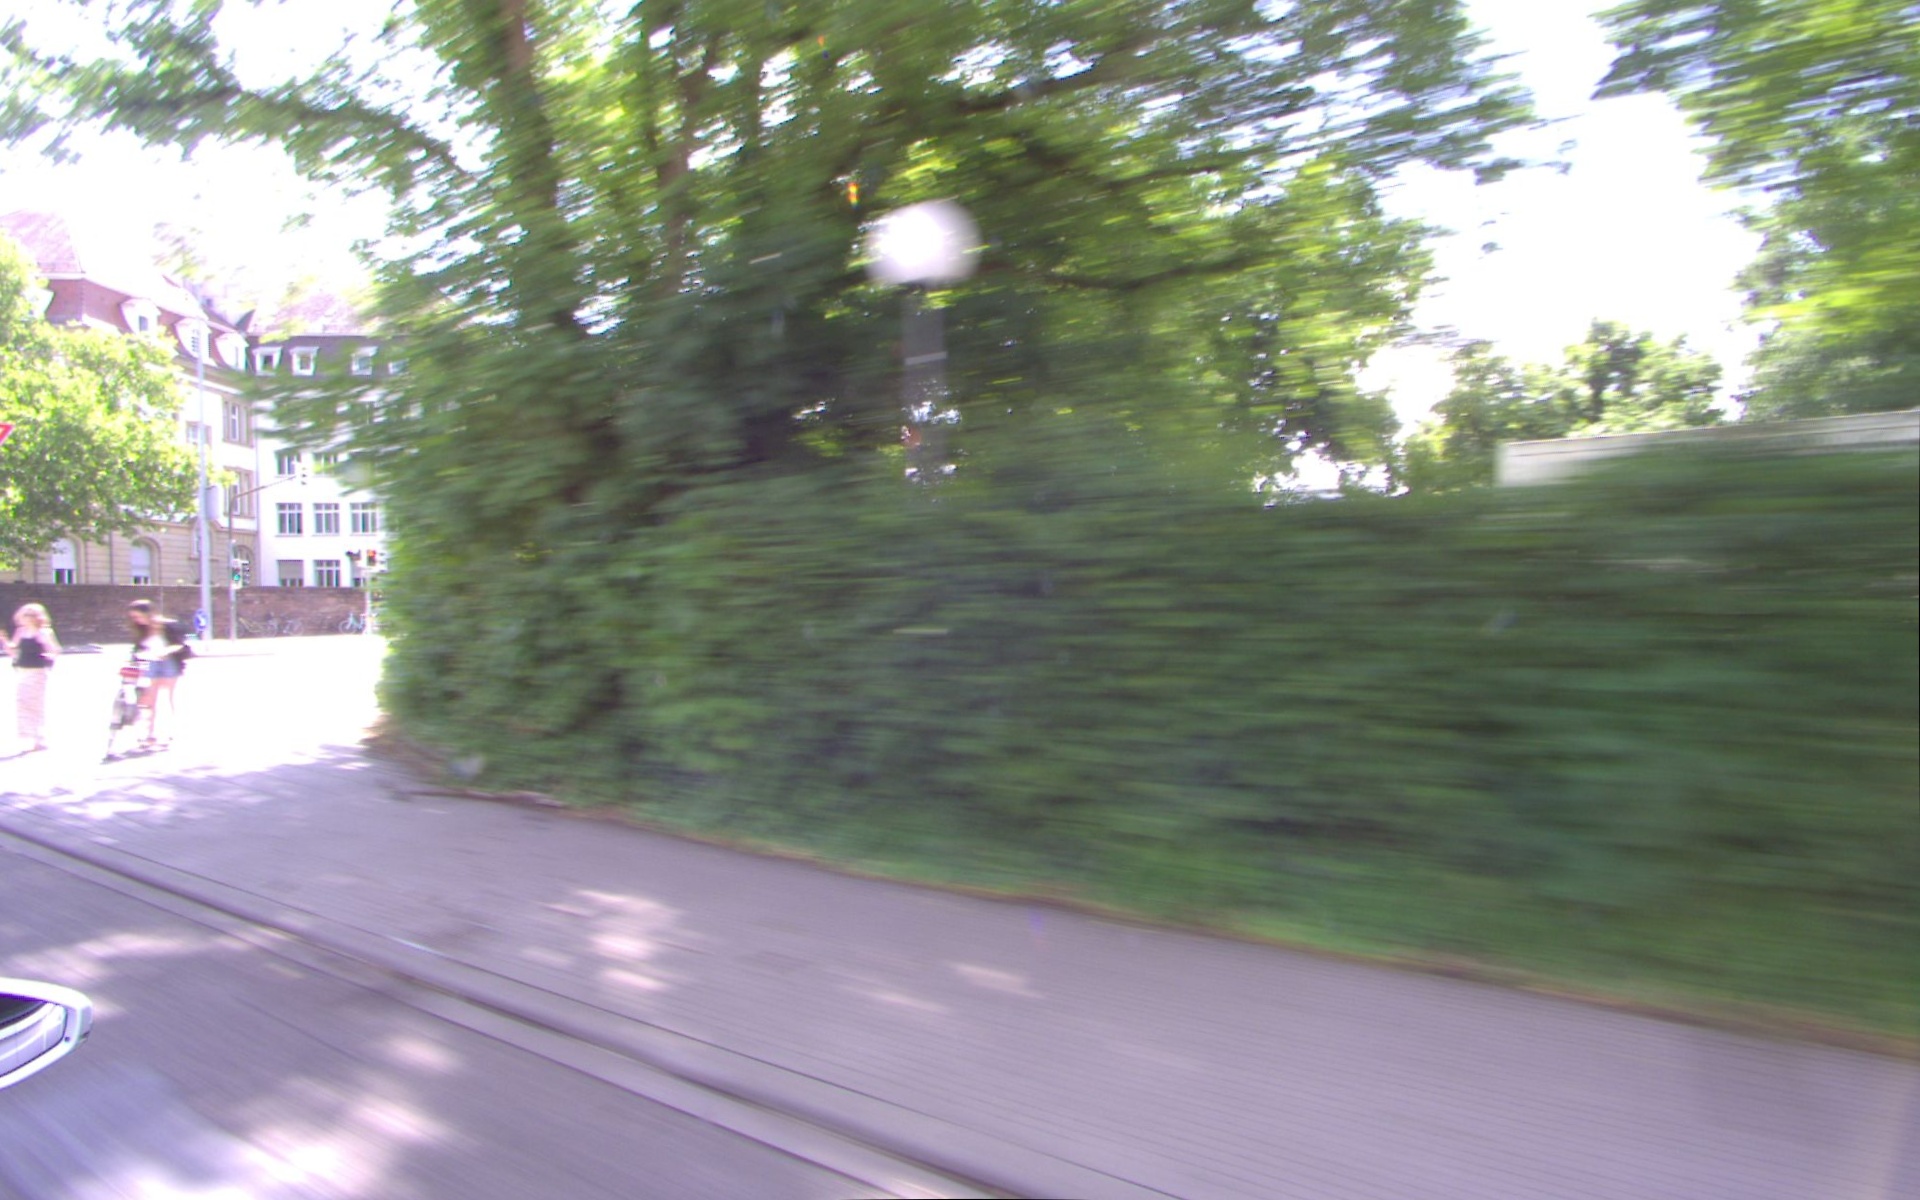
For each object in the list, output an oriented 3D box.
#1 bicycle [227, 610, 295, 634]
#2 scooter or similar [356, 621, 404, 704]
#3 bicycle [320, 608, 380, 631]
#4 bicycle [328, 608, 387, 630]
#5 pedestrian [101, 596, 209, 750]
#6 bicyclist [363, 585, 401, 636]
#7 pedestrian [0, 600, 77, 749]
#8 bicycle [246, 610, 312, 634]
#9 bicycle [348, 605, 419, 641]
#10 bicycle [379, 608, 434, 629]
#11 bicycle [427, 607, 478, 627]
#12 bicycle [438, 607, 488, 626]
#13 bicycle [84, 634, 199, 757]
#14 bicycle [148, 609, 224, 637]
[{"bbox_3d":[-30.805,0.956,44.173,0.742,1.007,2.377,0,0,29],"label":"bicycle"},{"bbox_3d":[-8.662,0.915,14.978,0.281,1.162,1.176,-1,1,-14],"label":"scooter or similar"},{"bbox_3d":[-29.004,0.914,47.644,0.742,1.007,2.377,0,0,29],"label":"bicycle"},{"bbox_3d":[-28.818,0.891,47.973,0.714,1.007,2.377,0,0,29],"label":"bicycle"},{"bbox_3d":[-8.854,0.771,11.050,0.716,1.597,0.730,-4,2,-29],"label":"pedestrian"},{"bbox_3d":[-19.470,0.359,33.731,0.873,1.695,0.684,0,1,-2],"label":"bicyclist"},{"bbox_3d":[-10.581,0.814,11.318,0.766,1.597,0.728,0,2,38],"label":"pedestrian"},{"bbox_3d":[-30.446,0.966,44.834,0.686,1.007,2.377,0,0,29],"label":"bicycle"},{"bbox_3d":[-19.417,0.768,33.750,1.949,1.201,0.682,0,1,-2],"label":"bicycle"},{"bbox_3d":[-27.686,0.902,50.132,0.742,1.007,2.377,0,0,29],"label":"bicycle"},{"bbox_3d":[-26.549,0.876,52.443,0.742,1.007,2.377,0,0,29],"label":"bicycle"},{"bbox_3d":[-26.270,0.860,52.959,0.714,1.007,2.377,0,0,29],"label":"bicycle"},{"bbox_3d":[-8.834,0.982,10.872,0.585,1.142,1.734,-4,2,-28],"label":"bicycle"},{"bbox_3d":[-32.214,0.940,41.718,0.742,1.072,2.377,0,0,29],"label":"bicycle"}]
